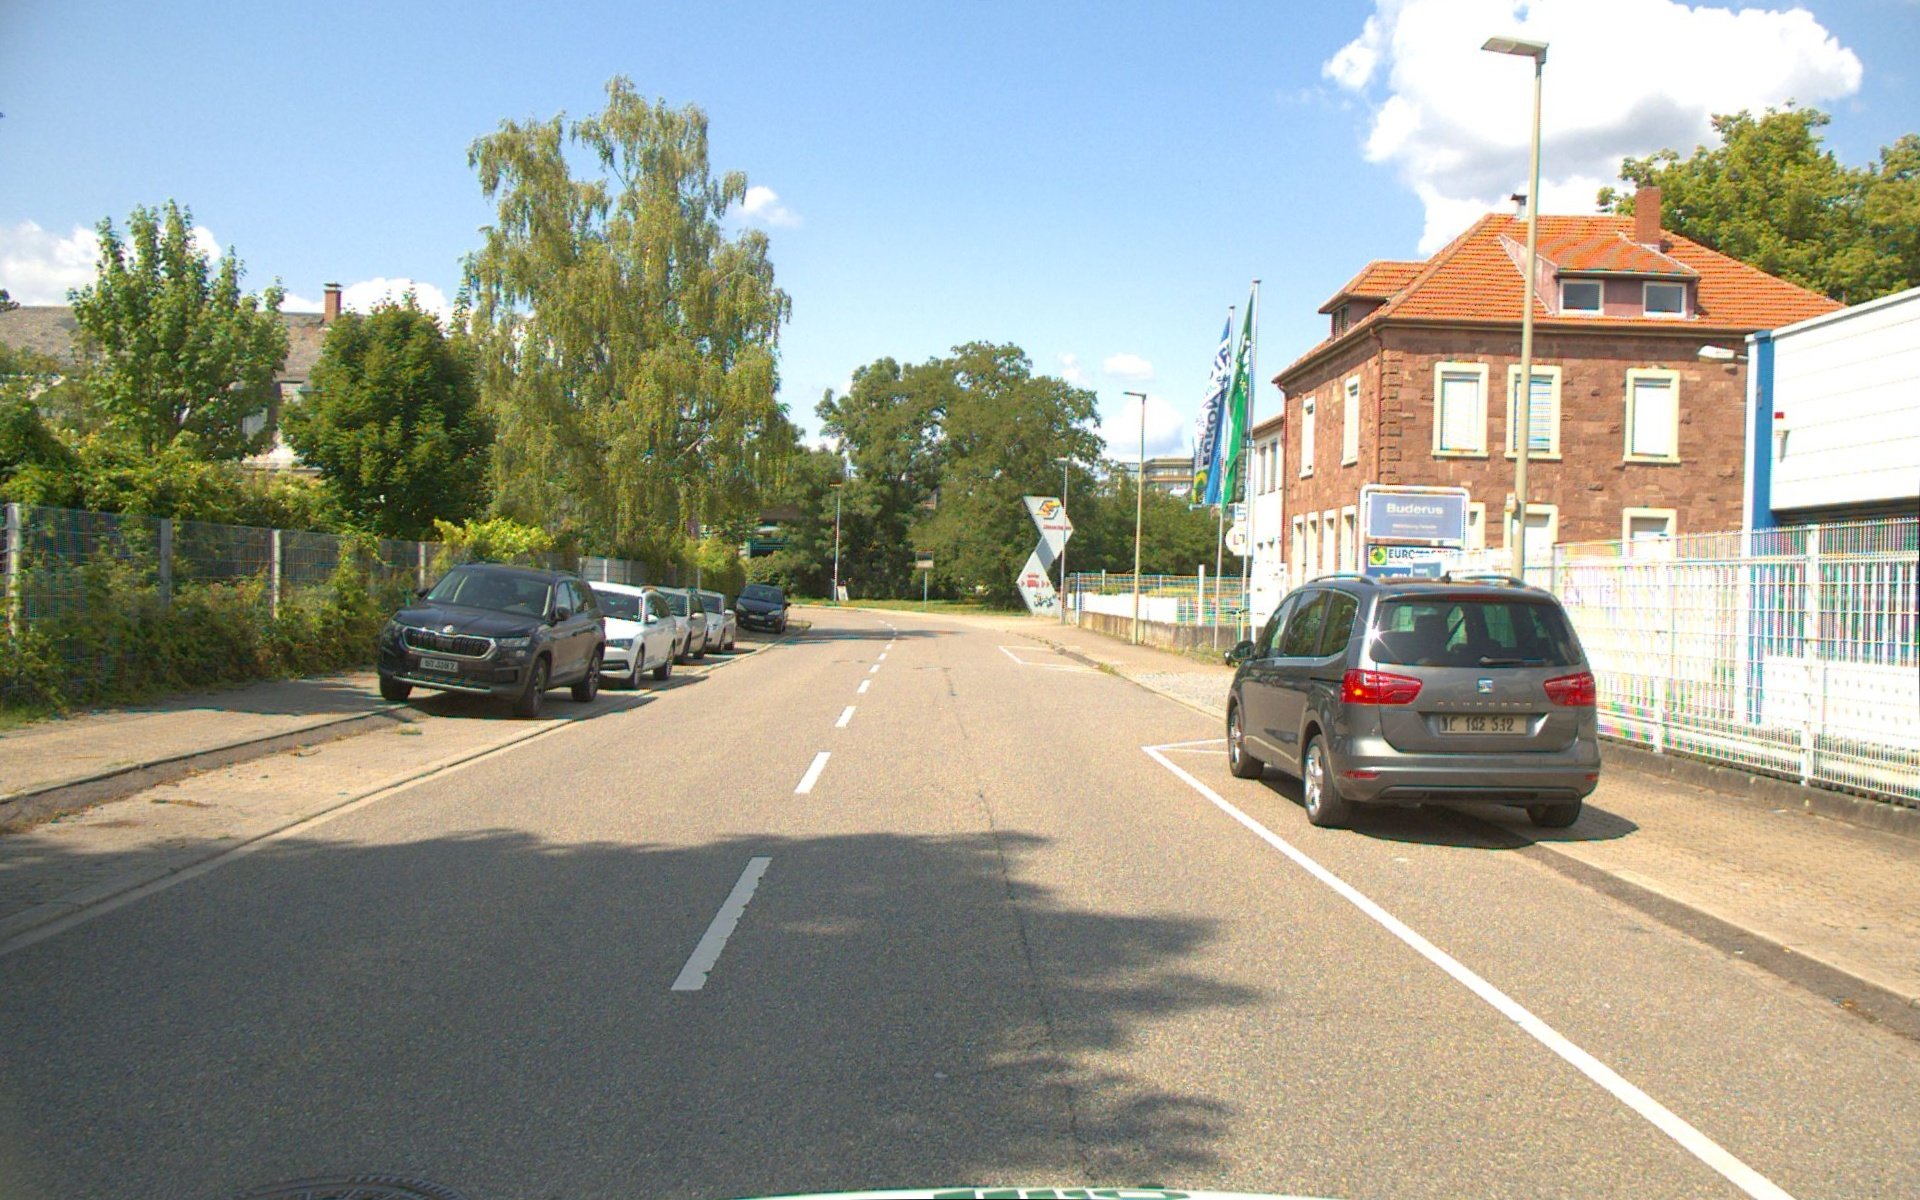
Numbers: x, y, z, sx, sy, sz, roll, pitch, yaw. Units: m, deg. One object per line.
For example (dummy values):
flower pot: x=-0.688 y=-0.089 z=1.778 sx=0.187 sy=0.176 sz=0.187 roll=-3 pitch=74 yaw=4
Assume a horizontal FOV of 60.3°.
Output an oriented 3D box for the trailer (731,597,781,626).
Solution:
trailer: x=-7.289 y=0.403 z=59.195 sx=1.435 sy=0.865 sz=2.466 roll=6 pitch=0 yaw=-1

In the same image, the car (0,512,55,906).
car: x=-5.258 y=0.457 z=6.005 sx=1.665 sy=1.833 sz=3.827 roll=5 pitch=0 yaw=1

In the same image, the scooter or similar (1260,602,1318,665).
scooter or similar: x=6.746 y=0.690 z=33.913 sx=1.122 sy=1.267 sz=0.259 roll=1 pitch=0 yaw=17

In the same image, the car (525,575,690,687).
car: x=-5.596 y=0.436 z=26.818 sx=1.665 sy=1.623 sz=4.787 roll=1 pitch=0 yaw=-1

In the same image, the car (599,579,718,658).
car: x=-6.346 y=0.348 z=35.259 sx=1.758 sy=1.554 sz=4.658 roll=1 pitch=0 yaw=-1

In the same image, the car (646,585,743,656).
car: x=-6.536 y=0.453 z=41.134 sx=1.690 sy=1.502 sz=4.629 roll=5 pitch=0 yaw=-2

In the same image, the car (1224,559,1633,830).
car: x=3.328 y=0.579 z=12.735 sx=1.788 sy=1.693 sz=4.555 roll=1 pitch=0 yaw=-1

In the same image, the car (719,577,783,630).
car: x=-6.948 y=0.116 z=55.328 sx=1.649 sy=1.538 sz=4.155 roll=5 pitch=0 yaw=-2

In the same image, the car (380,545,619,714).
car: x=-5.569 y=0.300 z=20.583 sx=1.578 sy=1.775 sz=4.636 roll=3 pitch=1 yaw=0
